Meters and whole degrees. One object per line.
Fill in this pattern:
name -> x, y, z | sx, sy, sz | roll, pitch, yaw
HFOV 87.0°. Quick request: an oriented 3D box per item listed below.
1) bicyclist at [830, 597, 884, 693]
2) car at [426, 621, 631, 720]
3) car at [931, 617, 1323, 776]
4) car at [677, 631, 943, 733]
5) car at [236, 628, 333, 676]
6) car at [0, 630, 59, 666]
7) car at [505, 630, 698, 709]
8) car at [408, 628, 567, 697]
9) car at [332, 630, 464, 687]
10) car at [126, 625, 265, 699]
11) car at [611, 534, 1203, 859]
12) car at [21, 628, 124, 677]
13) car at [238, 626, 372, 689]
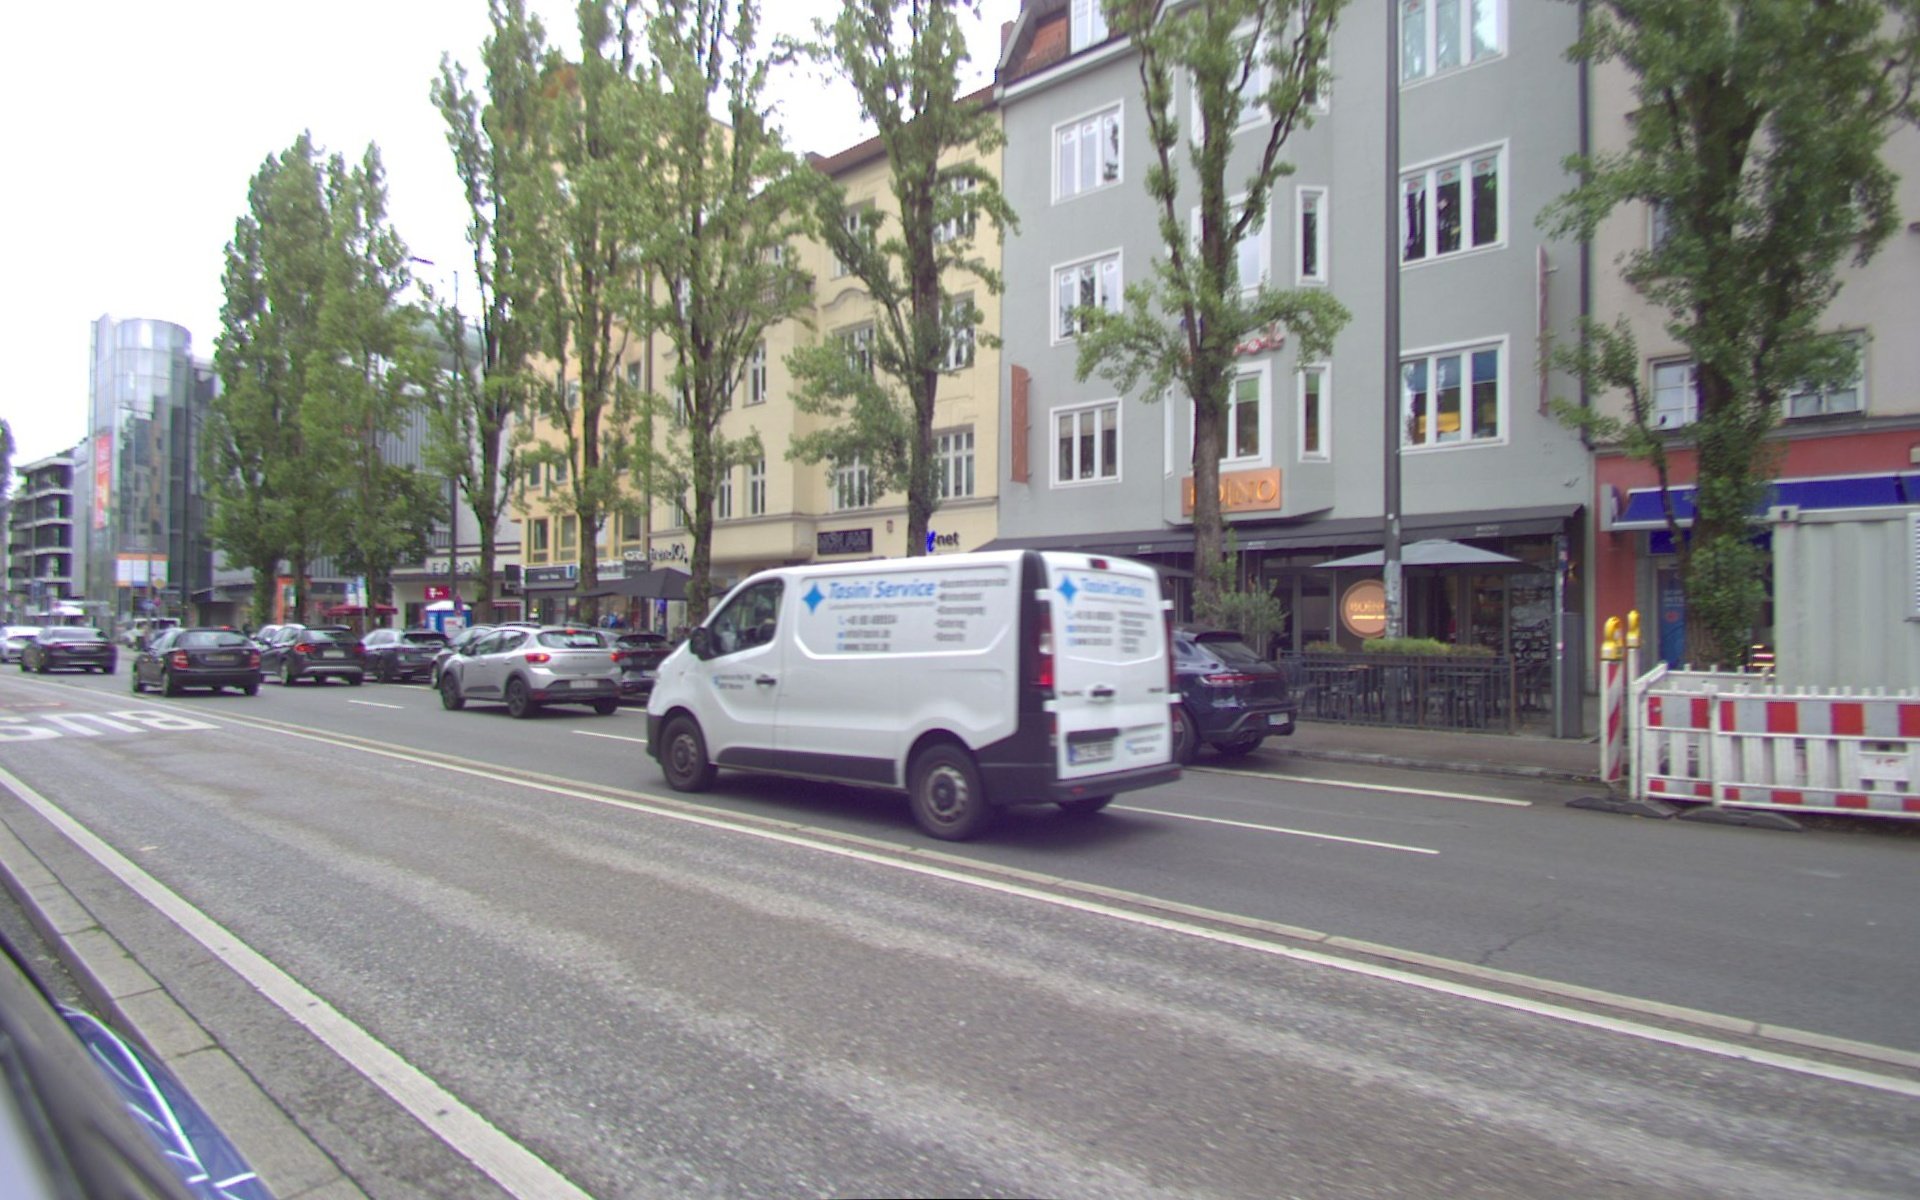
bicyclist -> -1.911, 0.820, 18.767 | 0.816, 1.718, 0.598 | -1, -2, 42
car -> -7.656, 1.172, 17.804 | 4.075, 1.553, 1.696 | -1, -3, 41
car -> 1.915, 1.060, 12.571 | 4.572, 1.625, 1.778 | -1, -3, 41
car -> -2.557, 1.239, 16.564 | 4.572, 1.451, 1.778 | -1, -3, 41
car -> -23.524, 1.767, 35.176 | 4.102, 1.590, 1.778 | -1, -3, 41
car -> -37.987, 1.900, 40.709 | 4.075, 1.410, 1.760 | -1, -3, 36
car -> -7.509, 1.358, 20.977 | 4.572, 1.451, 1.778 | -1, -3, 41
car -> -11.489, 1.454, 24.462 | 4.572, 1.515, 1.778 | -1, -3, 41
car -> -15.706, 1.575, 28.183 | 4.572, 1.451, 1.778 | -1, -3, 41
car -> -16.417, 1.279, 21.689 | 3.593, 1.451, 1.596 | -1, -3, 40
car -> -0.711, 0.667, 8.475 | 5.069, 1.947, 1.872 | -1, -4, 41
car -> -27.730, 1.603, 31.585 | 4.360, 1.410, 1.758 | -1, -3, 40
car -> -17.159, 1.451, 26.436 | 4.360, 1.530, 1.728 | -1, -3, 40
